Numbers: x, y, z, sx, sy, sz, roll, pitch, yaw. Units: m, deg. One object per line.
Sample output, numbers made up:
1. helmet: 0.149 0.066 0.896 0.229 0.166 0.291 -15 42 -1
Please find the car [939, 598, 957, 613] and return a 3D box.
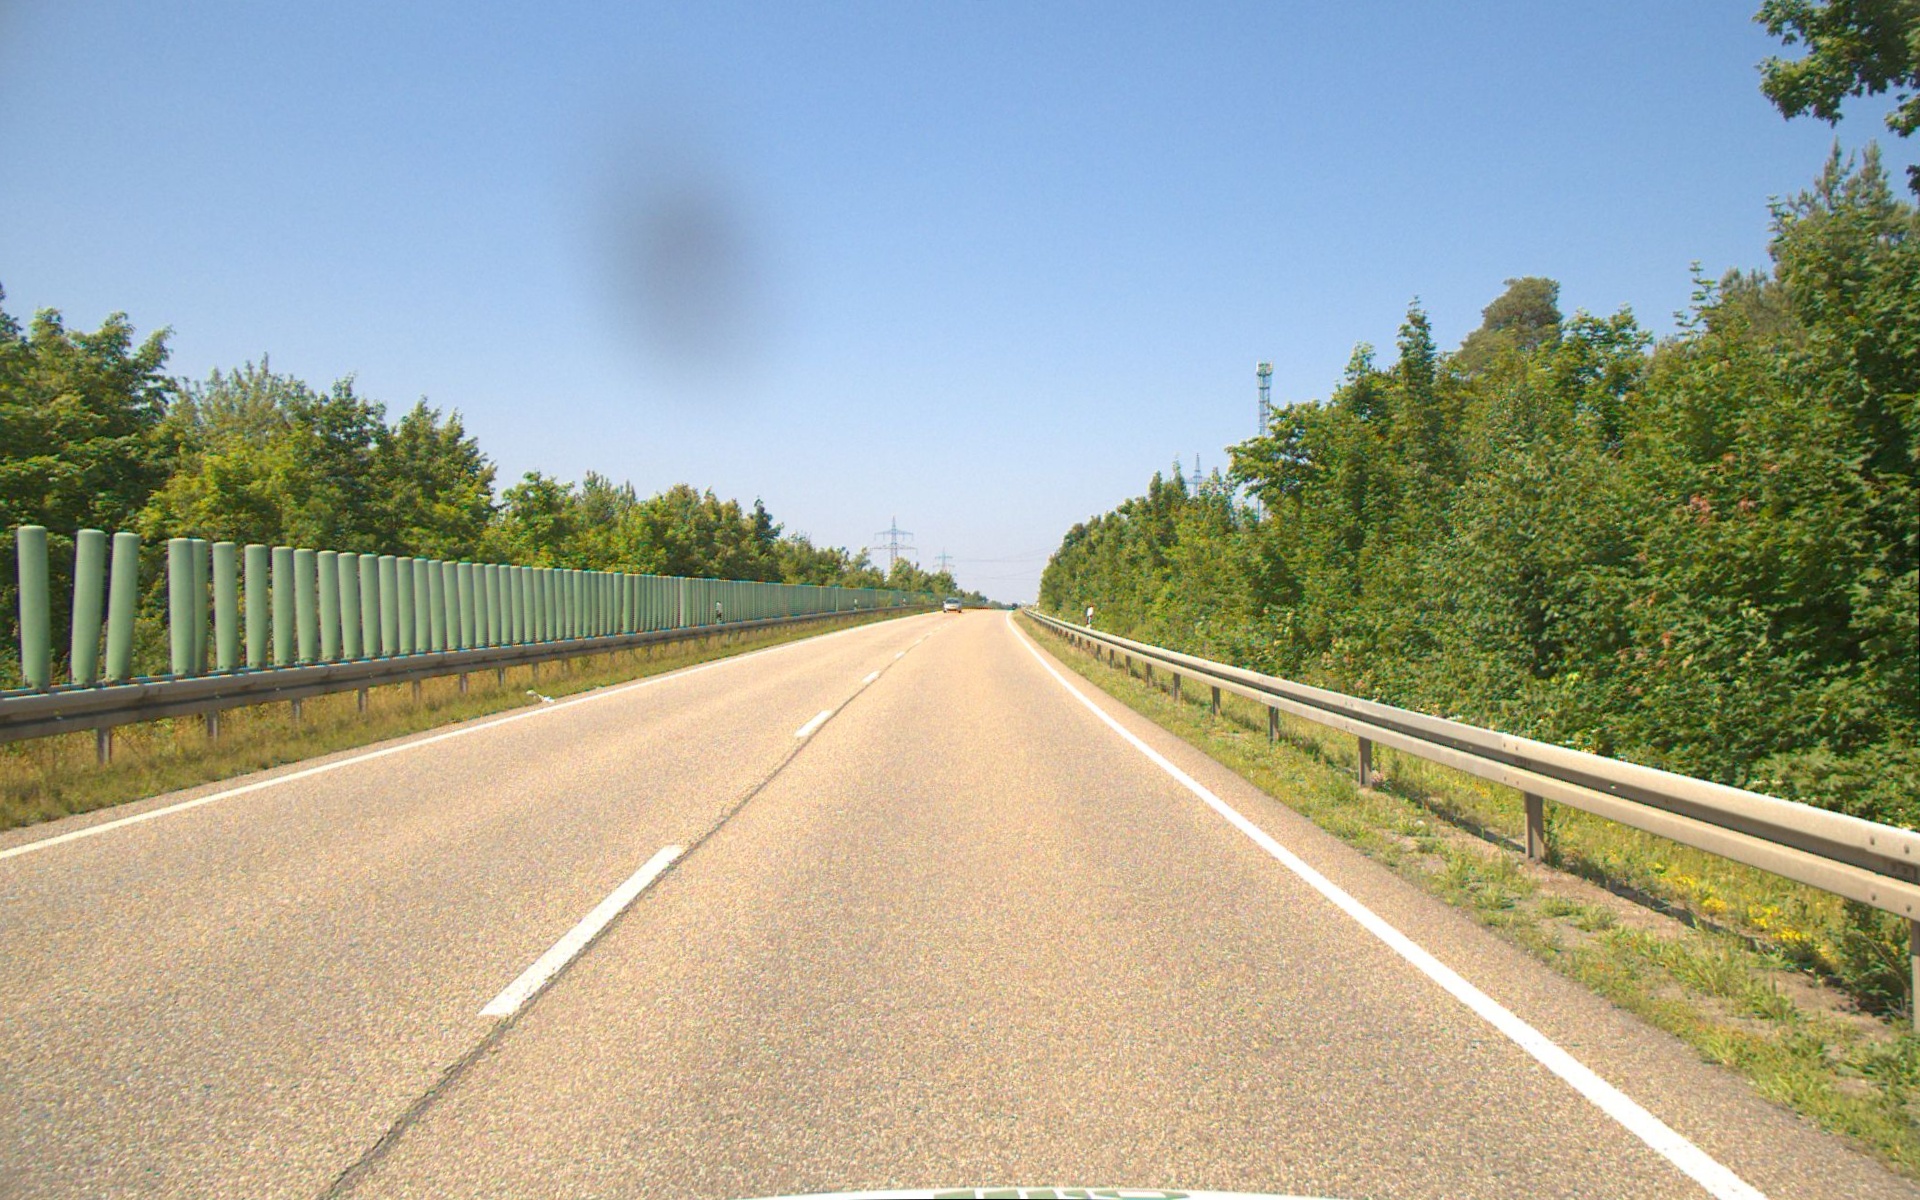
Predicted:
1. car: -1.219 0.534 167.809 1.684 1.527 4.248 1 0 1
